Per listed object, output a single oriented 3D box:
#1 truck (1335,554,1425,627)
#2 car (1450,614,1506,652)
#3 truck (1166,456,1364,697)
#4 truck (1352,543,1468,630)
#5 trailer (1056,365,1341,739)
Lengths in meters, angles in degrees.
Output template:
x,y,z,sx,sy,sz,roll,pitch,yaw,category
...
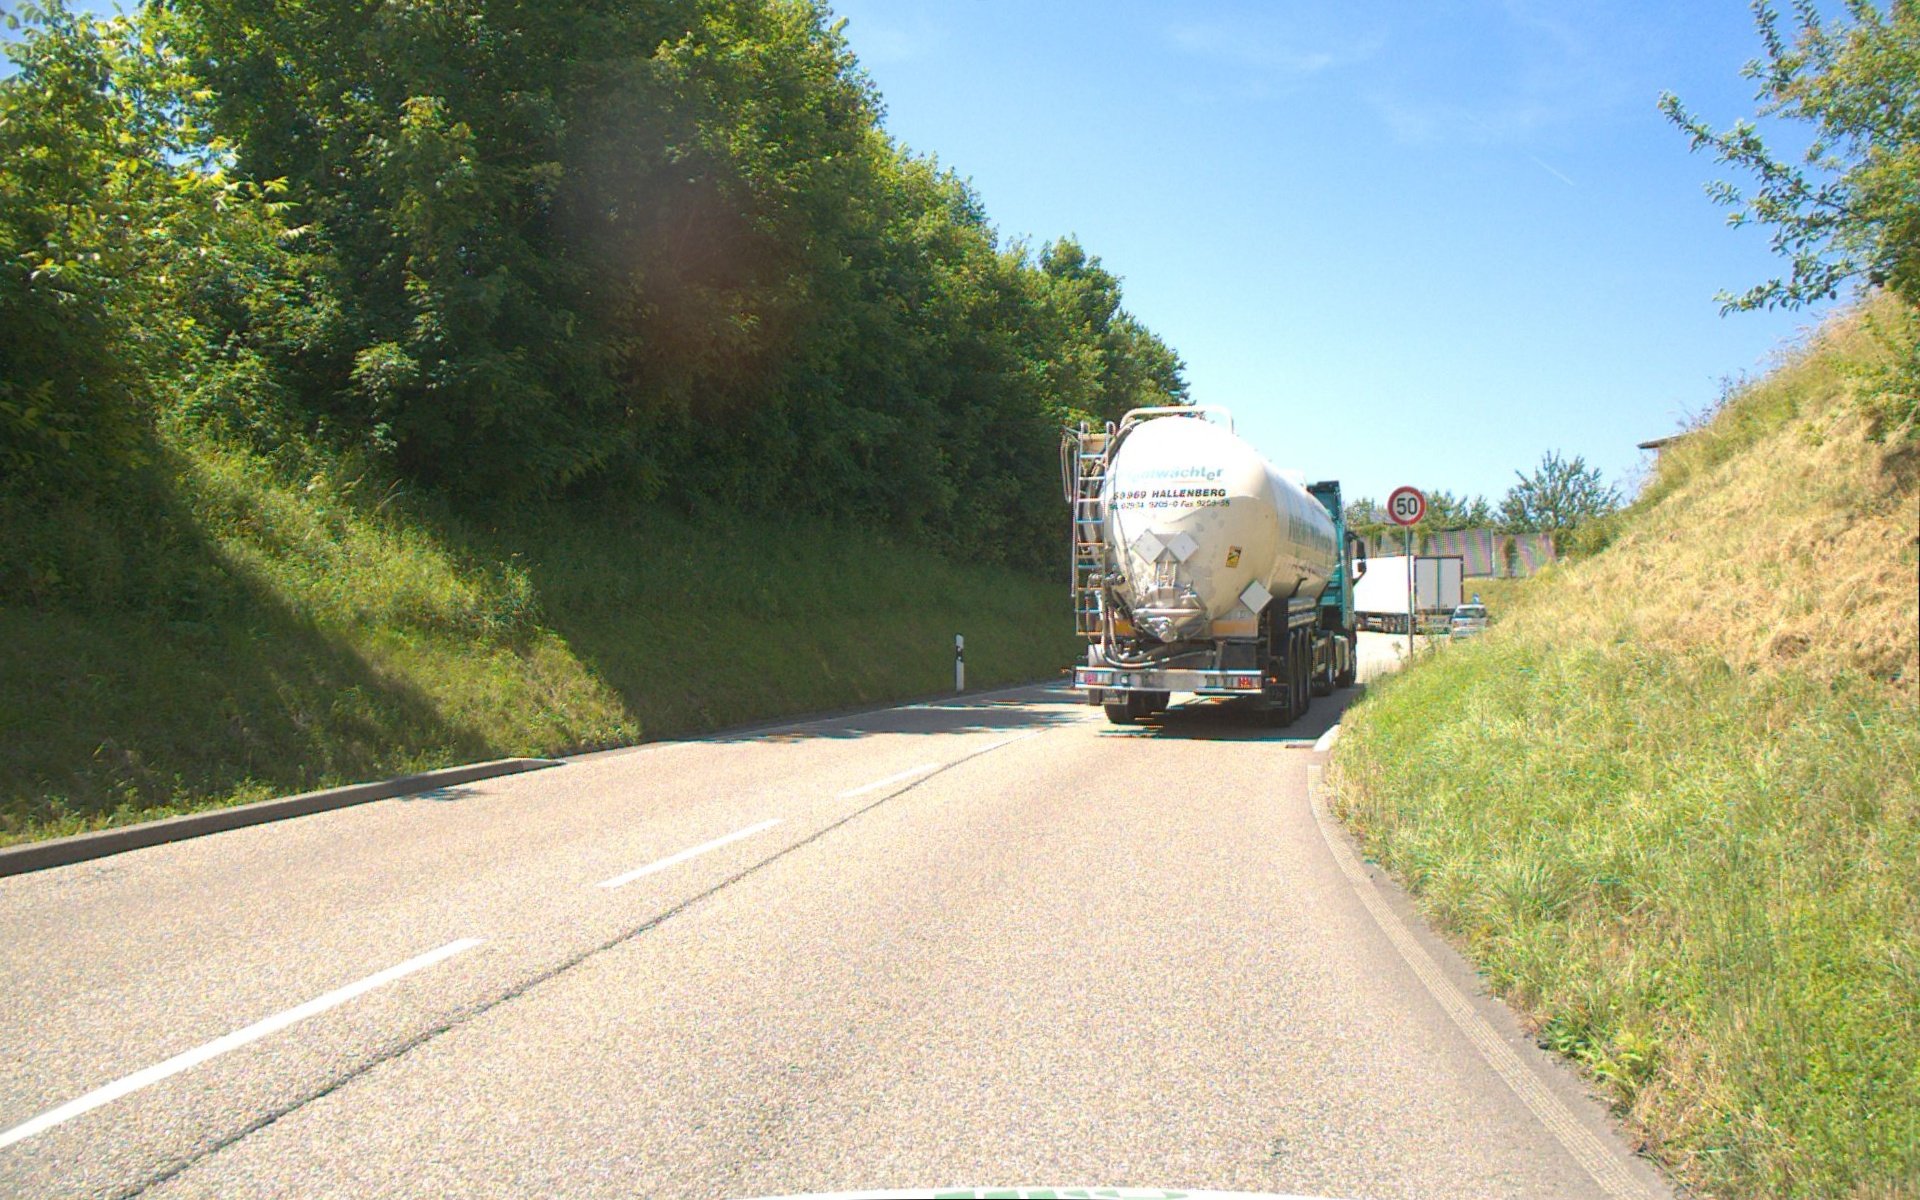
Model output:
x,y,z,sx,sy,sz,roll,pitch,yaw,category
24.308,-0.528,96.107,3.125,4.002,8.251,1,0,0,truck
21.741,1.396,69.395,1.616,1.536,3.633,1,-1,27,car
5.936,-0.325,31.221,2.670,3.999,7.265,0,-1,18,truck
24.331,-0.714,90.143,3.125,4.385,11.800,1,0,0,truck
4.054,-0.519,24.934,2.605,4.262,11.911,0,0,16,trailer
